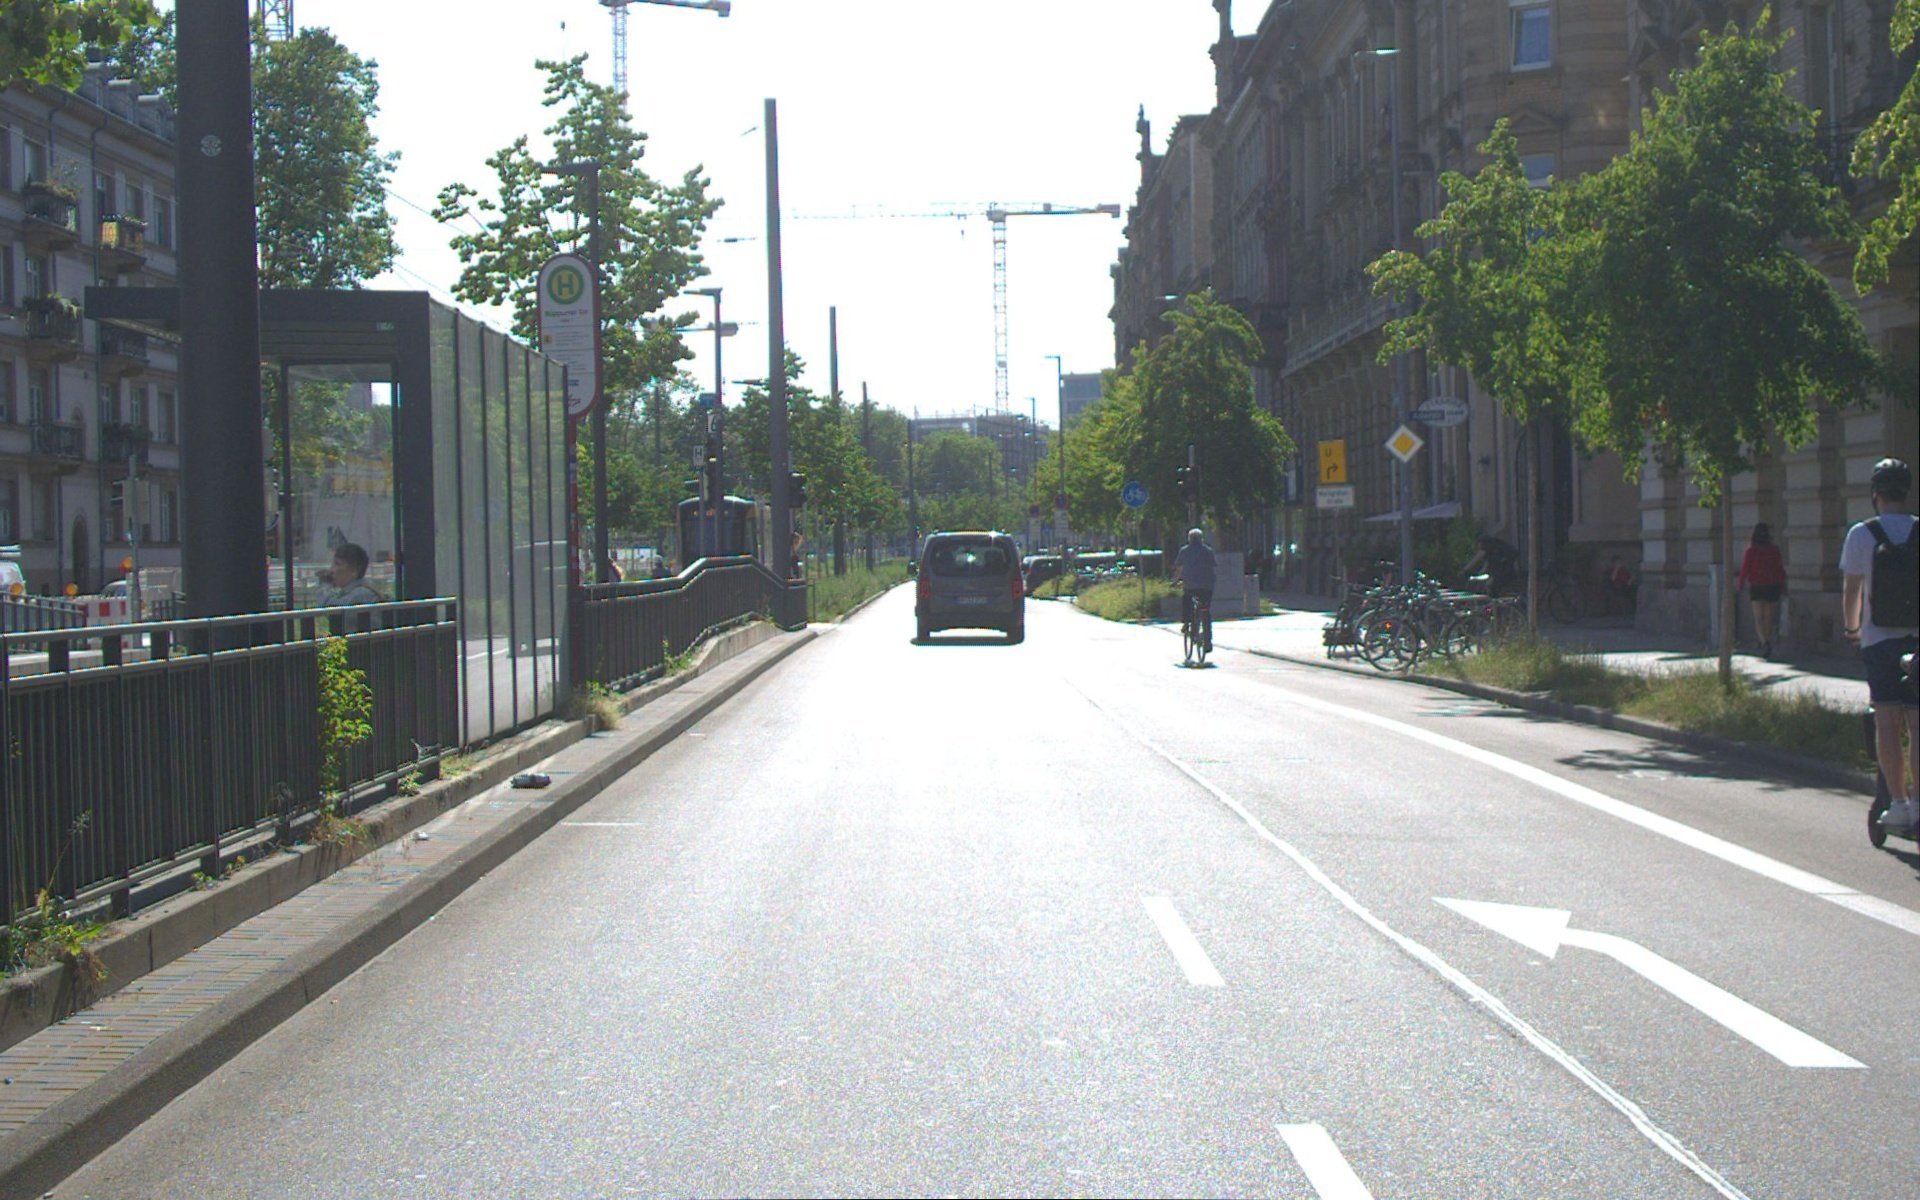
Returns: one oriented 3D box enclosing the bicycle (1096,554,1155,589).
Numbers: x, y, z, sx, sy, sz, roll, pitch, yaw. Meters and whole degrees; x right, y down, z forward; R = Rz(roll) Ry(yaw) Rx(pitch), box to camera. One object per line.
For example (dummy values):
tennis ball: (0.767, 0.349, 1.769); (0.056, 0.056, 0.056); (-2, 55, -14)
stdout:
bicycle: (5.109, -0.881, 106.310); (1.792, 1.027, 0.527); (-1, 1, 0)

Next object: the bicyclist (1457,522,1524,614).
bicyclist: (9.221, -0.550, 59.819); (0.660, 1.525, 0.800); (-6, 1, -32)

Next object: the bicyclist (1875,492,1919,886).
bicyclist: (4.544, 0.386, 15.095); (0.779, 1.705, 0.869); (1, 1, -1)

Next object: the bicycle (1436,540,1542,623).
bicycle: (9.198, -0.311, 59.832); (0.615, 1.326, 1.900); (-6, 1, -32)

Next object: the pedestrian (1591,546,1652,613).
pedestrian: (12.085, -0.377, 62.793); (0.849, 1.210, 0.934); (0, 1, -7)

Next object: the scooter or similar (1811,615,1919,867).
scooter or similar: (4.765, 0.702, 17.600); (0.490, 1.222, 1.170); (1, 1, -1)

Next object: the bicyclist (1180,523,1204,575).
bicyclist: (7.357, -1.613, 109.169); (0.666, 1.633, 0.960); (-1, 1, 0)

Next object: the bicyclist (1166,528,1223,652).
bicyclist: (3.214, -0.144, 47.252); (0.684, 1.667, 0.922); (1, 1, -1)

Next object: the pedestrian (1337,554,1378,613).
pedestrian: (8.151, -0.340, 70.546); (0.706, 1.174, 0.635); (-3, 1, 0)

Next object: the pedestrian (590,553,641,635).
pedestrian: (-6.465, -0.123, 64.536); (0.865, 1.531, 0.909); (0, 1, 0)

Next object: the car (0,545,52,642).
car: (-18.749, -0.128, 65.439); (1.820, 1.788, 4.089); (0, 0, 0)

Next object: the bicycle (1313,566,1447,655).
bicycle: (5.762, 0.145, 47.222); (1.723, 1.097, 0.607); (-4, 1, 3)

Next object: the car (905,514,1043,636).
car: (0.201, -0.438, 57.953); (2.200, 1.919, 4.654); (-1, 1, -1)

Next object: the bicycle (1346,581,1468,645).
bicycle: (6.329, 0.185, 48.701); (1.670, 0.818, 0.606); (-2, 1, 7)

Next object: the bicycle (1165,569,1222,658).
bicycle: (3.199, 0.175, 47.165); (0.601, 1.177, 1.869); (1, 1, -1)

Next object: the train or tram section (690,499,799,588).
train or tram section: (-6.910, -1.782, 111.405); (2.756, 2.733, 9.863); (0, 0, 1)

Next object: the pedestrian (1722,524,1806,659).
pedestrian: (9.319, -0.101, 39.867); (0.709, 1.536, 0.927); (-1, 1, -1)

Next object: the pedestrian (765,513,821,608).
pedestrian: (-3.418, -0.814, 70.380); (1.075, 1.902, 0.653); (-1, 1, -7)

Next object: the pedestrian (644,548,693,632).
pedestrian: (-5.380, -0.192, 63.456); (0.812, 1.531, 0.798); (0, 1, 1)

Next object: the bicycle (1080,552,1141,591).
bicycle: (4.717, -0.894, 107.654); (1.792, 1.027, 0.527); (-5, 1, 0)

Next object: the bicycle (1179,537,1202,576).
bicycle: (7.335, -1.377, 109.478); (0.583, 1.218, 1.900); (-1, 1, 0)

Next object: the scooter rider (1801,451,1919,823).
scooter rider: (4.779, 0.180, 17.634); (0.666, 1.854, 0.901); (1, 1, -1)

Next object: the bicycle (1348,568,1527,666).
bicycle: (5.960, 0.206, 42.983); (1.994, 1.089, 0.847); (-4, 1, -10)

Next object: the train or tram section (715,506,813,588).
train or tram section: (-6.838, -1.809, 121.253); (2.756, 2.733, 9.863); (0, 0, 1)

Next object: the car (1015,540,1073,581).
car: (3.194, -1.512, 131.190); (2.028, 1.493, 4.654); (-1, 1, -1)

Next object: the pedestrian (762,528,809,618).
pedestrian: (-3.464, -0.537, 68.013); (0.865, 1.782, 0.971); (0, 1, -7)

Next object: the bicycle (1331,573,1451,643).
bicycle: (6.184, 0.115, 49.366); (1.670, 0.940, 0.606); (-2, 1, 7)

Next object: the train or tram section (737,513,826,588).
train or tram section: (-6.751, -1.837, 131.122); (2.756, 2.733, 9.863); (0, 0, 1)

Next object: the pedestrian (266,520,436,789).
pedestrian: (-3.560, 0.308, 20.157); (0.812, 1.531, 0.798); (-1, 1, 1)

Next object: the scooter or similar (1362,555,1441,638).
scooter or similar: (6.519, -0.049, 50.774); (1.111, 1.185, 0.419); (-2, 1, 7)

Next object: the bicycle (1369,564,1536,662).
bicycle: (6.345, 0.163, 44.355); (1.995, 1.124, 0.710); (-4, 1, 1)

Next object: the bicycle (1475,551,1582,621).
bicycle: (10.172, -0.252, 61.581); (1.817, 1.167, 0.654); (-1, 4, 4)

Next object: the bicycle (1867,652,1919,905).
bicycle: (4.522, 0.805, 15.093); (0.557, 1.089, 1.792); (1, 1, -1)

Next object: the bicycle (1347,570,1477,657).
bicycle: (5.998, 0.179, 45.667); (1.600, 1.042, 0.607); (-4, 1, 3)
